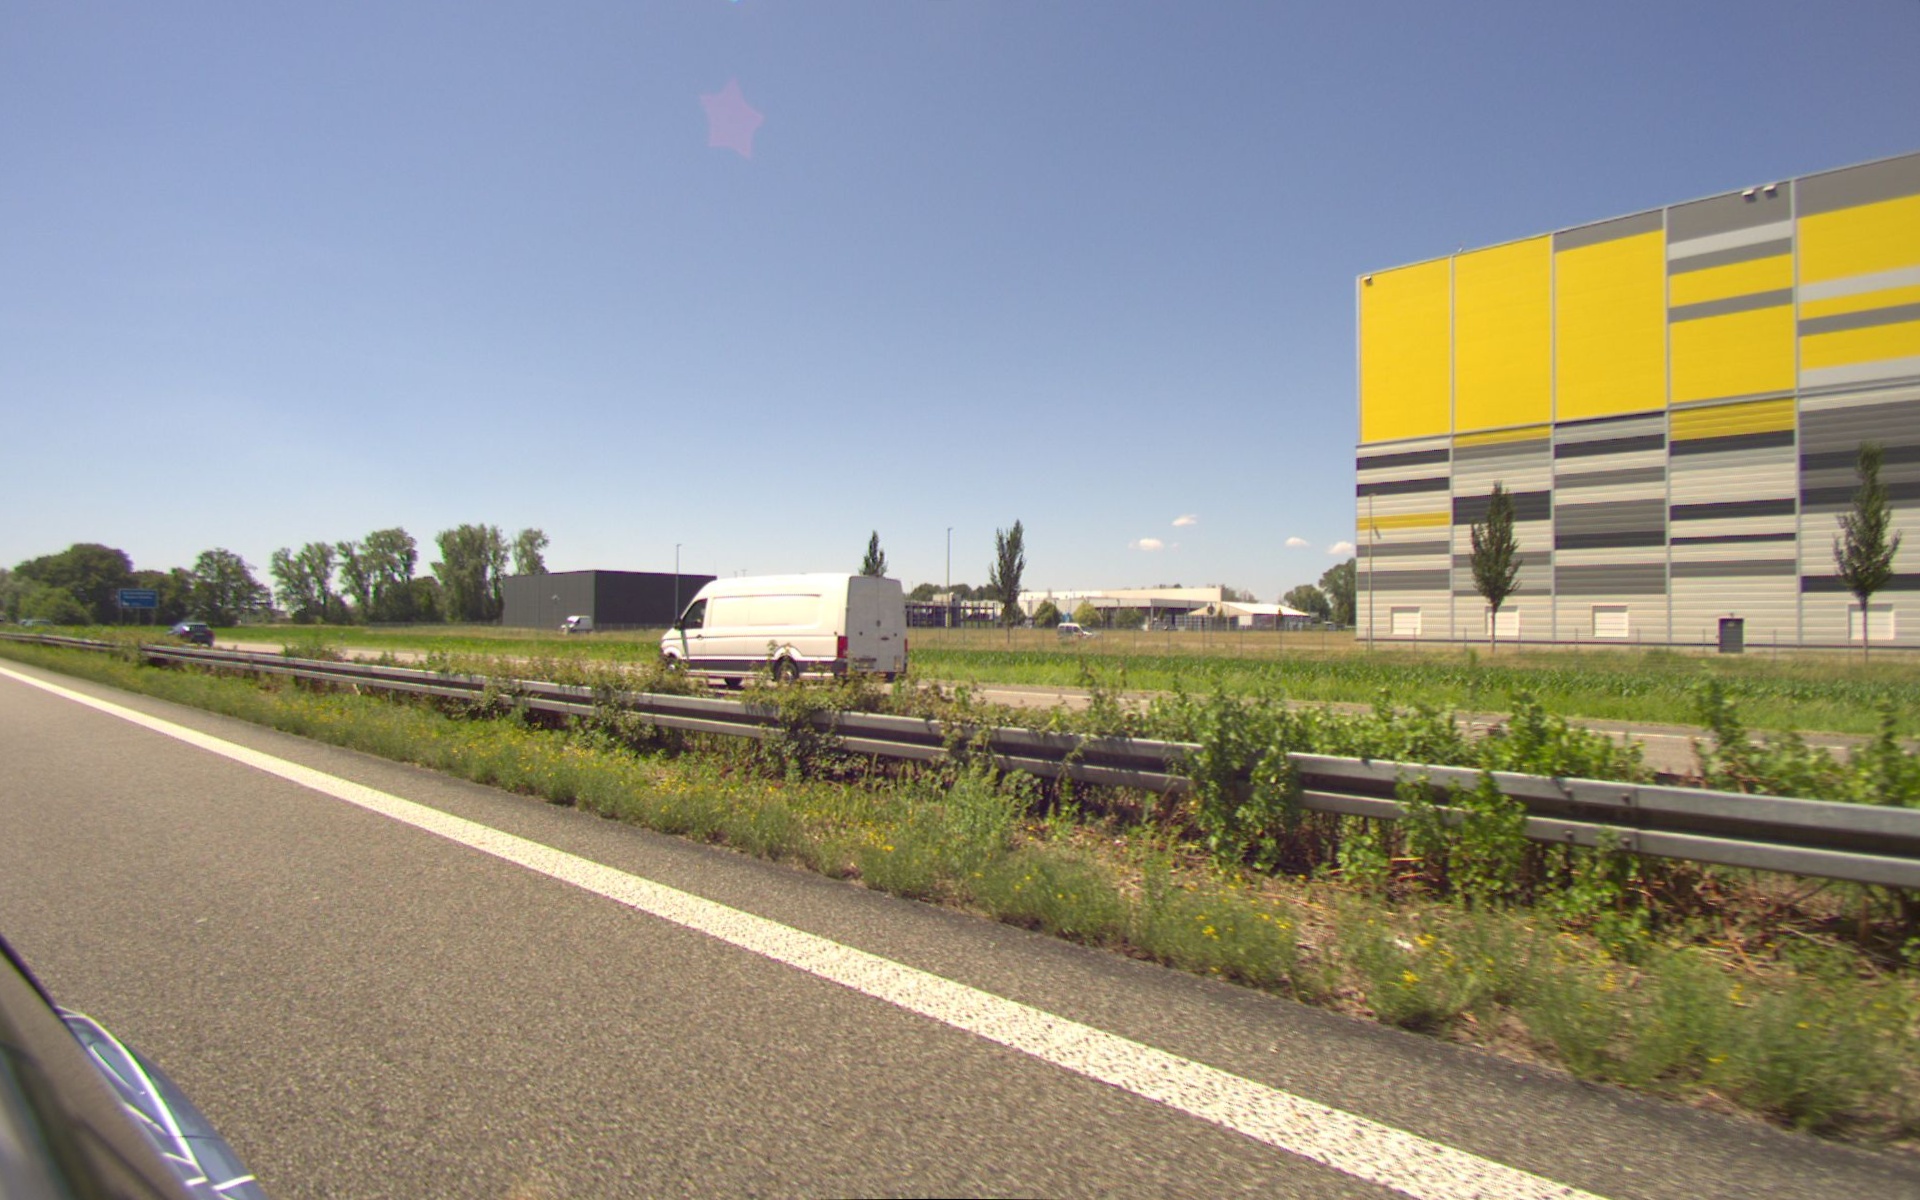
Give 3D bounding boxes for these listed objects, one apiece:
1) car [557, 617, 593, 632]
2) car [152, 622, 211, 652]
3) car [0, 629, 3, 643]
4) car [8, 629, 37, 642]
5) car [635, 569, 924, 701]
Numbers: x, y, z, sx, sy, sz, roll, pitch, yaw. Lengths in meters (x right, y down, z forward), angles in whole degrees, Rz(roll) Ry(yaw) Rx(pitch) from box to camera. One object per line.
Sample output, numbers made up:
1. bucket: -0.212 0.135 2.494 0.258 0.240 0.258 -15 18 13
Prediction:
1. car: -57.661 3.678 151.472 6.079 2.265 2.526 -1 -2 41
2. car: -48.118 2.260 62.535 4.908 1.759 1.993 -1 -2 42
3. car: -100.982 3.720 105.221 4.367 1.362 1.706 -1 -2 42
4. car: -113.242 4.231 122.236 5.108 1.540 2.045 -1 -2 42
5. car: -4.387 0.783 23.160 7.932 2.574 2.045 -1 -3 42
